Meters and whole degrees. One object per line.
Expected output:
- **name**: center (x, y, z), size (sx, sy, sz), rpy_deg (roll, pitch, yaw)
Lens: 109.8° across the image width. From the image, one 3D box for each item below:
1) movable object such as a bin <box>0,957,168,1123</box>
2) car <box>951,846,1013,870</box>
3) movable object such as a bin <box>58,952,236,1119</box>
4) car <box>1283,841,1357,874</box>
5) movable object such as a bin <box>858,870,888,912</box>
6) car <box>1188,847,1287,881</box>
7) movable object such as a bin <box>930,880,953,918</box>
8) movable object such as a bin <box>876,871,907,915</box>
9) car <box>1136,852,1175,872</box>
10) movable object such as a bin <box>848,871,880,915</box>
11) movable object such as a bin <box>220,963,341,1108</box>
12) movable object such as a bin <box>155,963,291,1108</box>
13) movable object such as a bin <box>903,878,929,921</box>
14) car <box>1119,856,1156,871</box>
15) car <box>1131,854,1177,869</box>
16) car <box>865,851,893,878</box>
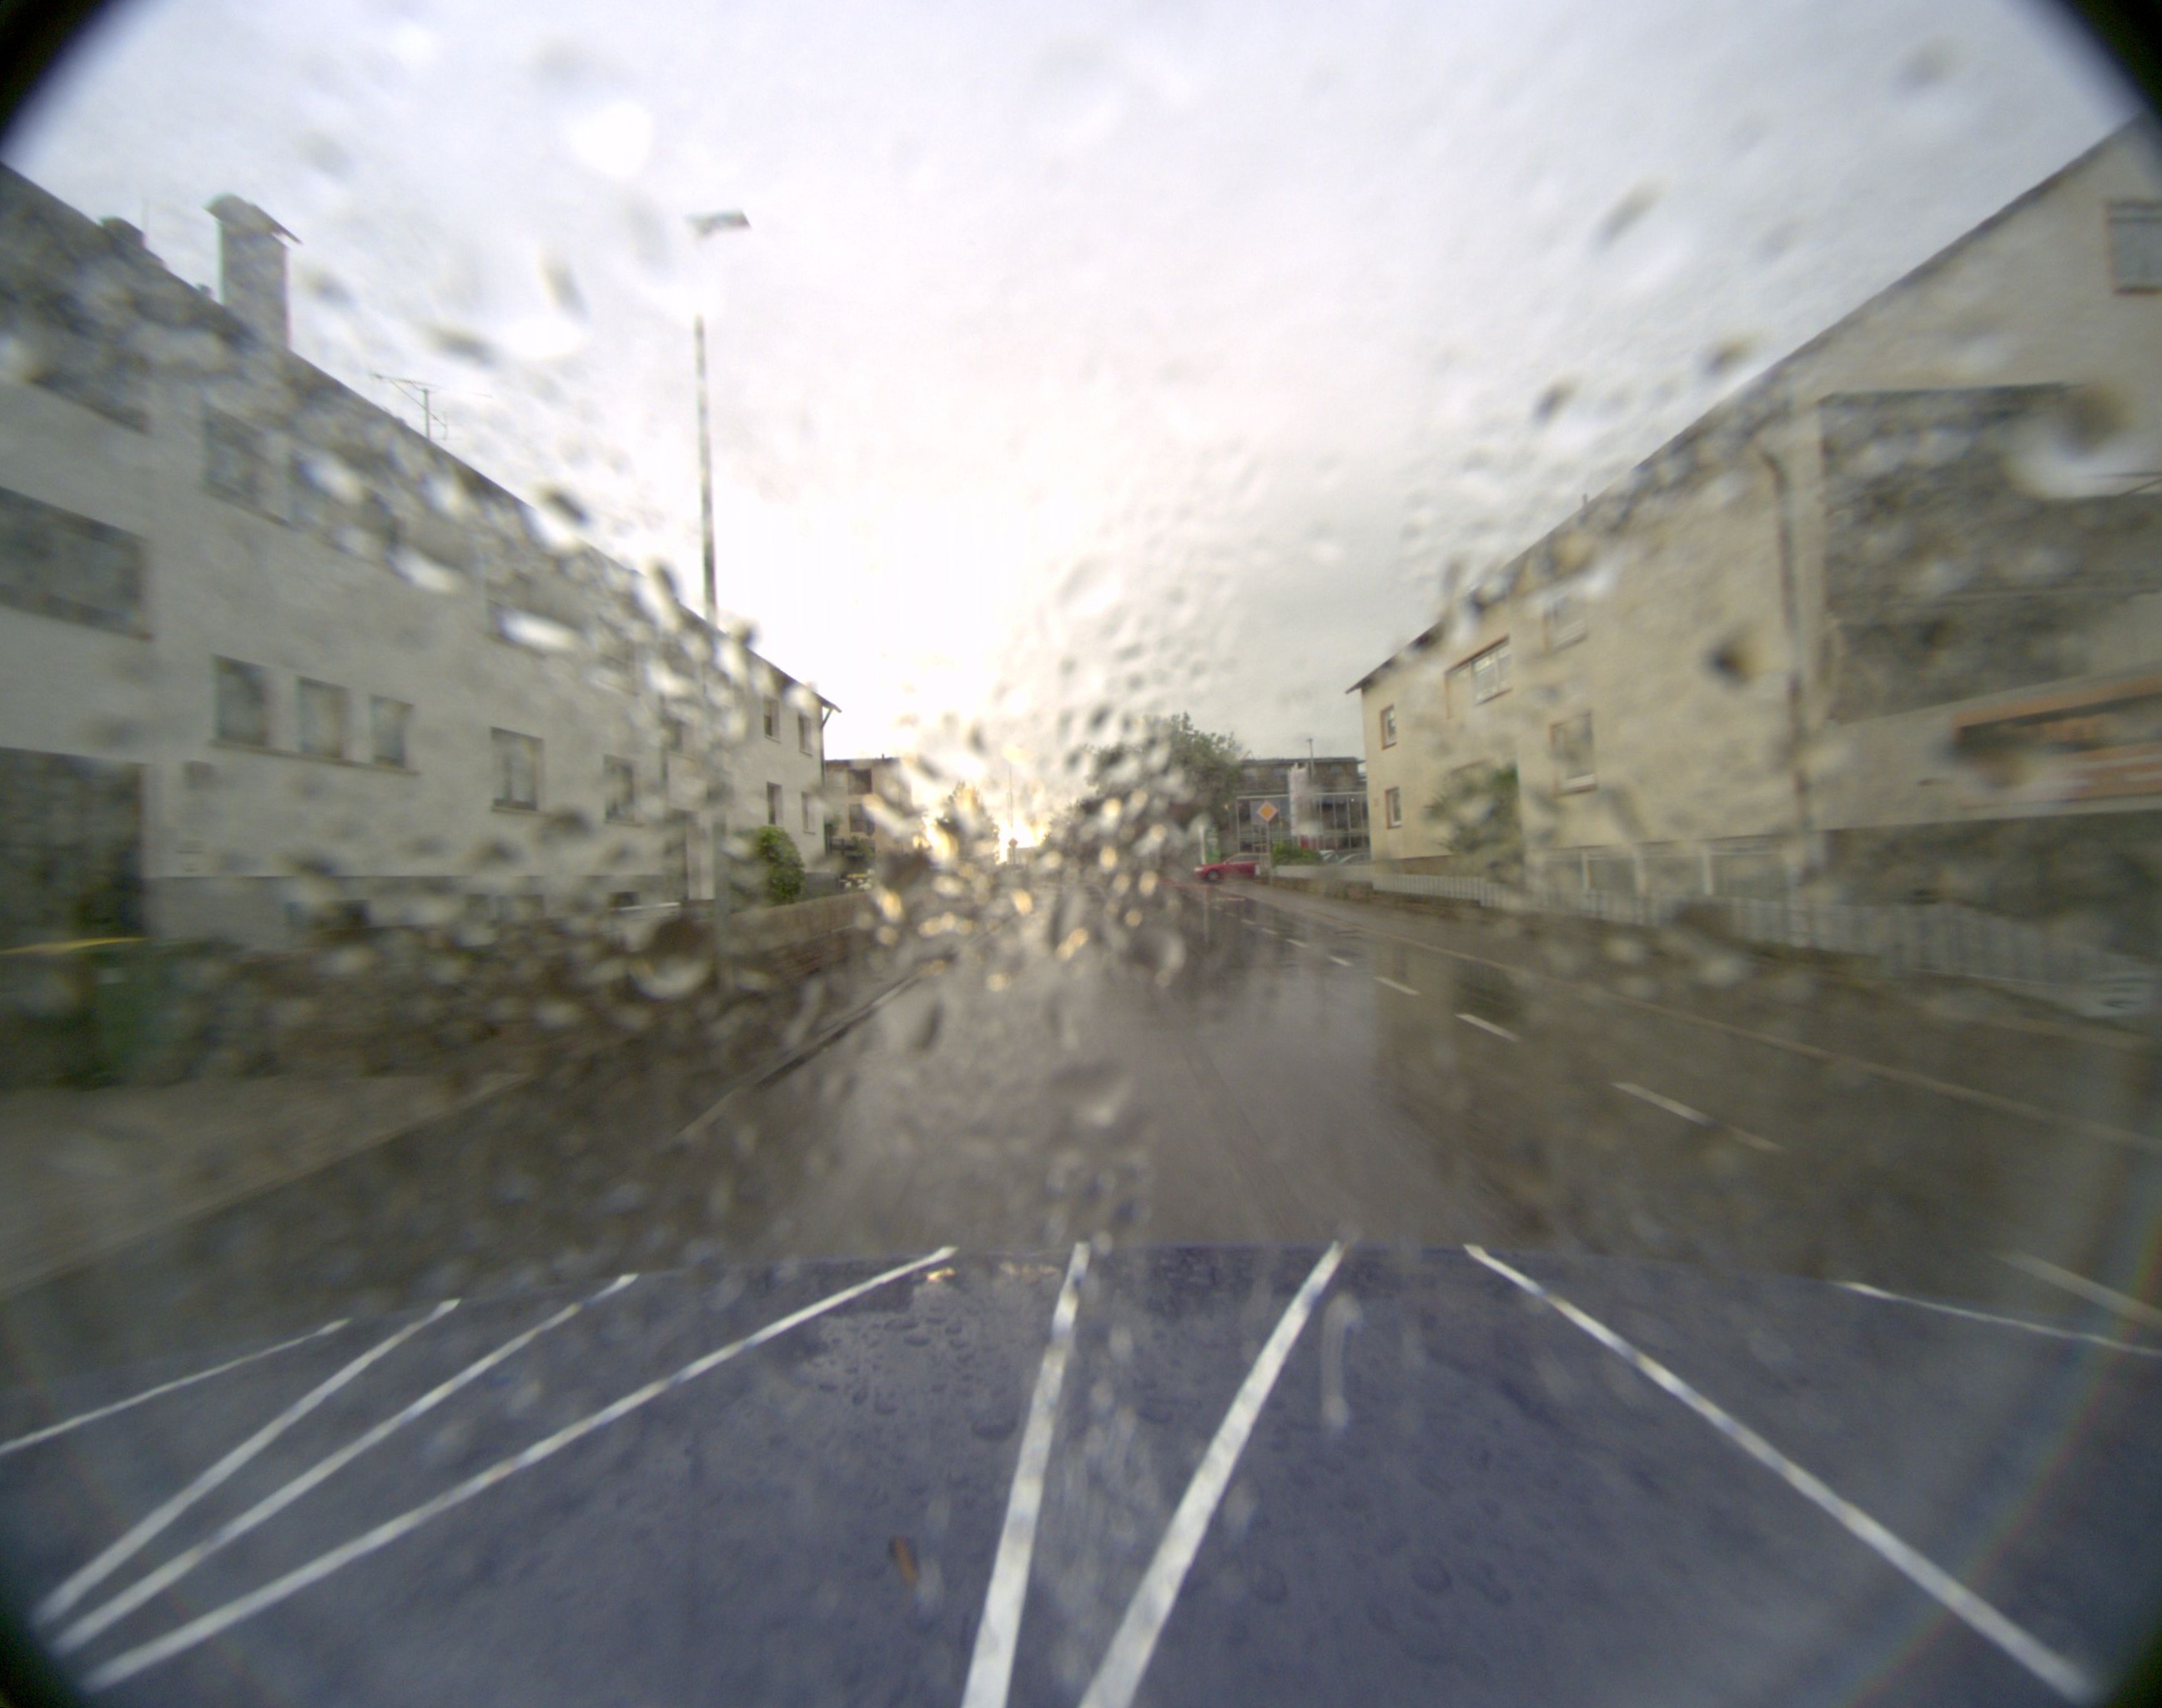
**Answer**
- **movable object such as a bin**: center (-7.452, 1.345, 5.599), size (0.651, 1.066, 0.629), rpy_deg (-4, -2, 1)
- **car**: center (-8.686, 0.362, 66.344), size (5.102, 1.908, 2.057), rpy_deg (-2, 0, 30)
- **movable object such as a bin**: center (-6.854, 1.303, 5.602), size (0.499, 1.066, 0.629), rpy_deg (-4, -2, 1)
- **car**: center (17.080, 0.259, 54.382), size (4.410, 2.001, 2.153), rpy_deg (-4, -2, -9)
- **movable object such as a bin**: center (-5.335, 0.939, 19.508), size (0.529, 1.021, 0.632), rpy_deg (-4, -2, -1)
- **car**: center (8.009, 0.511, 39.199), size (4.655, 1.558, 1.874), rpy_deg (-1, 0, -2)
- **movable object such as a bin**: center (-3.558, 1.148, 19.401), size (0.426, 0.934, 0.508), rpy_deg (-4, -2, -1)
- **movable object such as a bin**: center (-4.678, 0.961, 18.793), size (0.546, 1.021, 0.632), rpy_deg (-4, -2, -1)
- **car**: center (5.967, 0.617, 60.904), size (2.917, 1.447, 1.252), rpy_deg (-2, 1, -6)
- **movable object such as a bin**: center (-5.349, 0.954, 18.782), size (0.546, 1.021, 0.632), rpy_deg (-4, -2, -1)
- **movable object such as a bin**: center (-5.907, 1.322, 5.620), size (0.406, 0.956, 0.419), rpy_deg (-4, -2, 1)
- **movable object such as a bin**: center (-6.362, 1.327, 5.649), size (0.472, 0.956, 0.442), rpy_deg (-4, -2, 1)
- **movable object such as a bin**: center (-4.084, 1.118, 18.823), size (0.426, 1.021, 0.632), rpy_deg (-4, -2, -1)
- **car**: center (4.883, 0.823, 65.862), size (2.917, 1.152, 1.471), rpy_deg (-2, -1, -6)
- **car**: center (6.605, 0.685, 69.282), size (3.912, 1.276, 1.581), rpy_deg (-2, -1, -6)
- **car**: center (-17.696, 0.945, 66.631), size (1.800, 2.001, 4.599), rpy_deg (-4, -2, -10)
